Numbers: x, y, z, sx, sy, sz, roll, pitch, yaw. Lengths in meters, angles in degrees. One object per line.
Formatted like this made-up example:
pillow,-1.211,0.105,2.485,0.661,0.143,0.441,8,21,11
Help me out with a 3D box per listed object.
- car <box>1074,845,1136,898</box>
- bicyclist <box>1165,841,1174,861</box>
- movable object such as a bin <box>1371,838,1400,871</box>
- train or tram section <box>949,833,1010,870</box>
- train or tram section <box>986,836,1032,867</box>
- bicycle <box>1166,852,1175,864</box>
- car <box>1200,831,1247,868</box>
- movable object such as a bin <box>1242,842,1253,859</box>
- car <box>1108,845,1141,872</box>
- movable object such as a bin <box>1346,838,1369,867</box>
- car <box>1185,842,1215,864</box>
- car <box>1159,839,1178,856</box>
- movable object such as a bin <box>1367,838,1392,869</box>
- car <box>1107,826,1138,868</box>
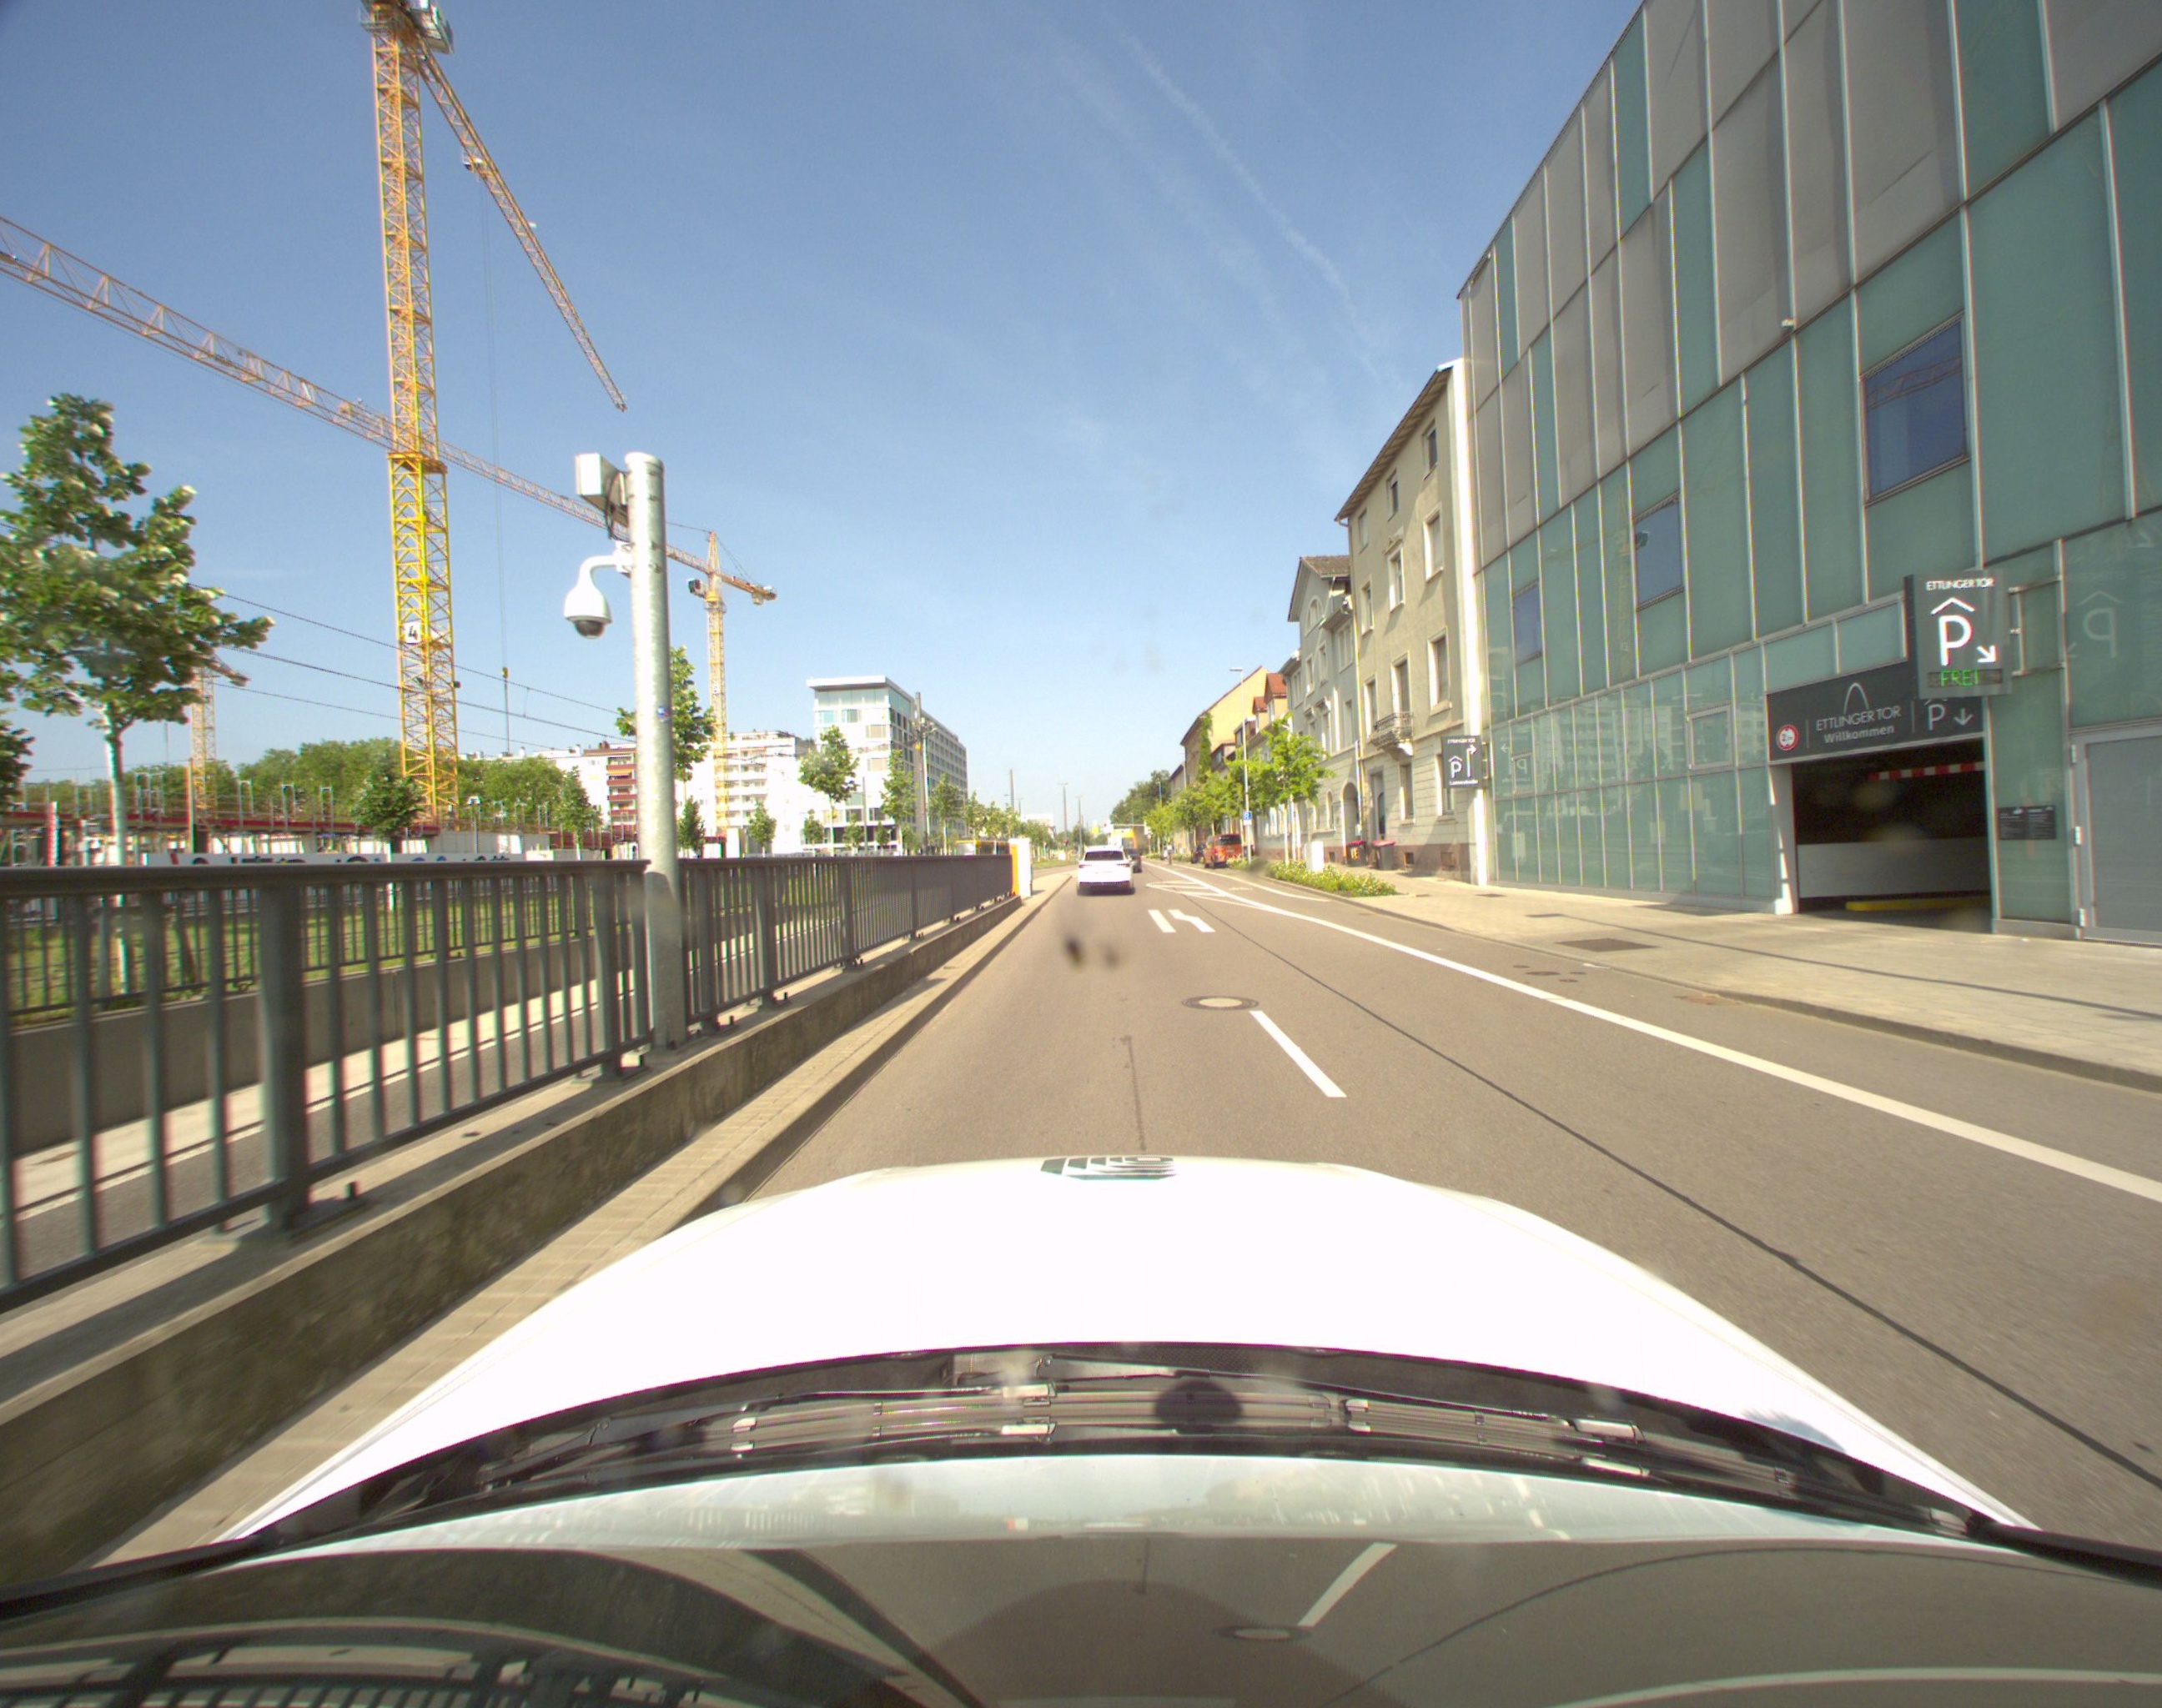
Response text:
car,0.841,0.516,27.380,1.862,1.574,4.003,-2,0,2
bicyclist,7.104,-0.271,65.118,0.636,1.577,0.772,-2,0,4
movable object such as a bin,11.450,0.016,30.618,0.778,1.172,0.808,-2,2,1
train or tram section,-11.073,-0.287,91.565,2.892,3.676,18.163,-1,0,5
train or tram section,-9.413,-0.307,109.694,2.892,3.707,18.316,-1,0,5
bicycle,7.128,0.321,65.173,0.652,0.938,1.519,-2,0,4
car,8.425,-0.287,48.621,2.055,2.013,4.590,-2,1,2
movable object such as a bin,12.522,-0.275,61.246,0.677,1.200,0.781,-2,0,1
car,2.444,0.231,45.999,1.753,1.436,4.118,-1,1,2
movable object such as a bin,11.560,-0.079,34.040,0.674,1.152,0.610,-4,3,-42
car,8.979,-0.076,61.585,1.667,1.483,4.314,-4,0,2
car,9.824,-0.705,91.950,1.806,1.812,3.837,-2,1,2
movable object such as a bin,11.584,-0.018,31.586,0.702,1.152,0.671,-2,2,1
car,2.993,-0.587,59.105,2.012,2.795,5.405,-2,2,2
